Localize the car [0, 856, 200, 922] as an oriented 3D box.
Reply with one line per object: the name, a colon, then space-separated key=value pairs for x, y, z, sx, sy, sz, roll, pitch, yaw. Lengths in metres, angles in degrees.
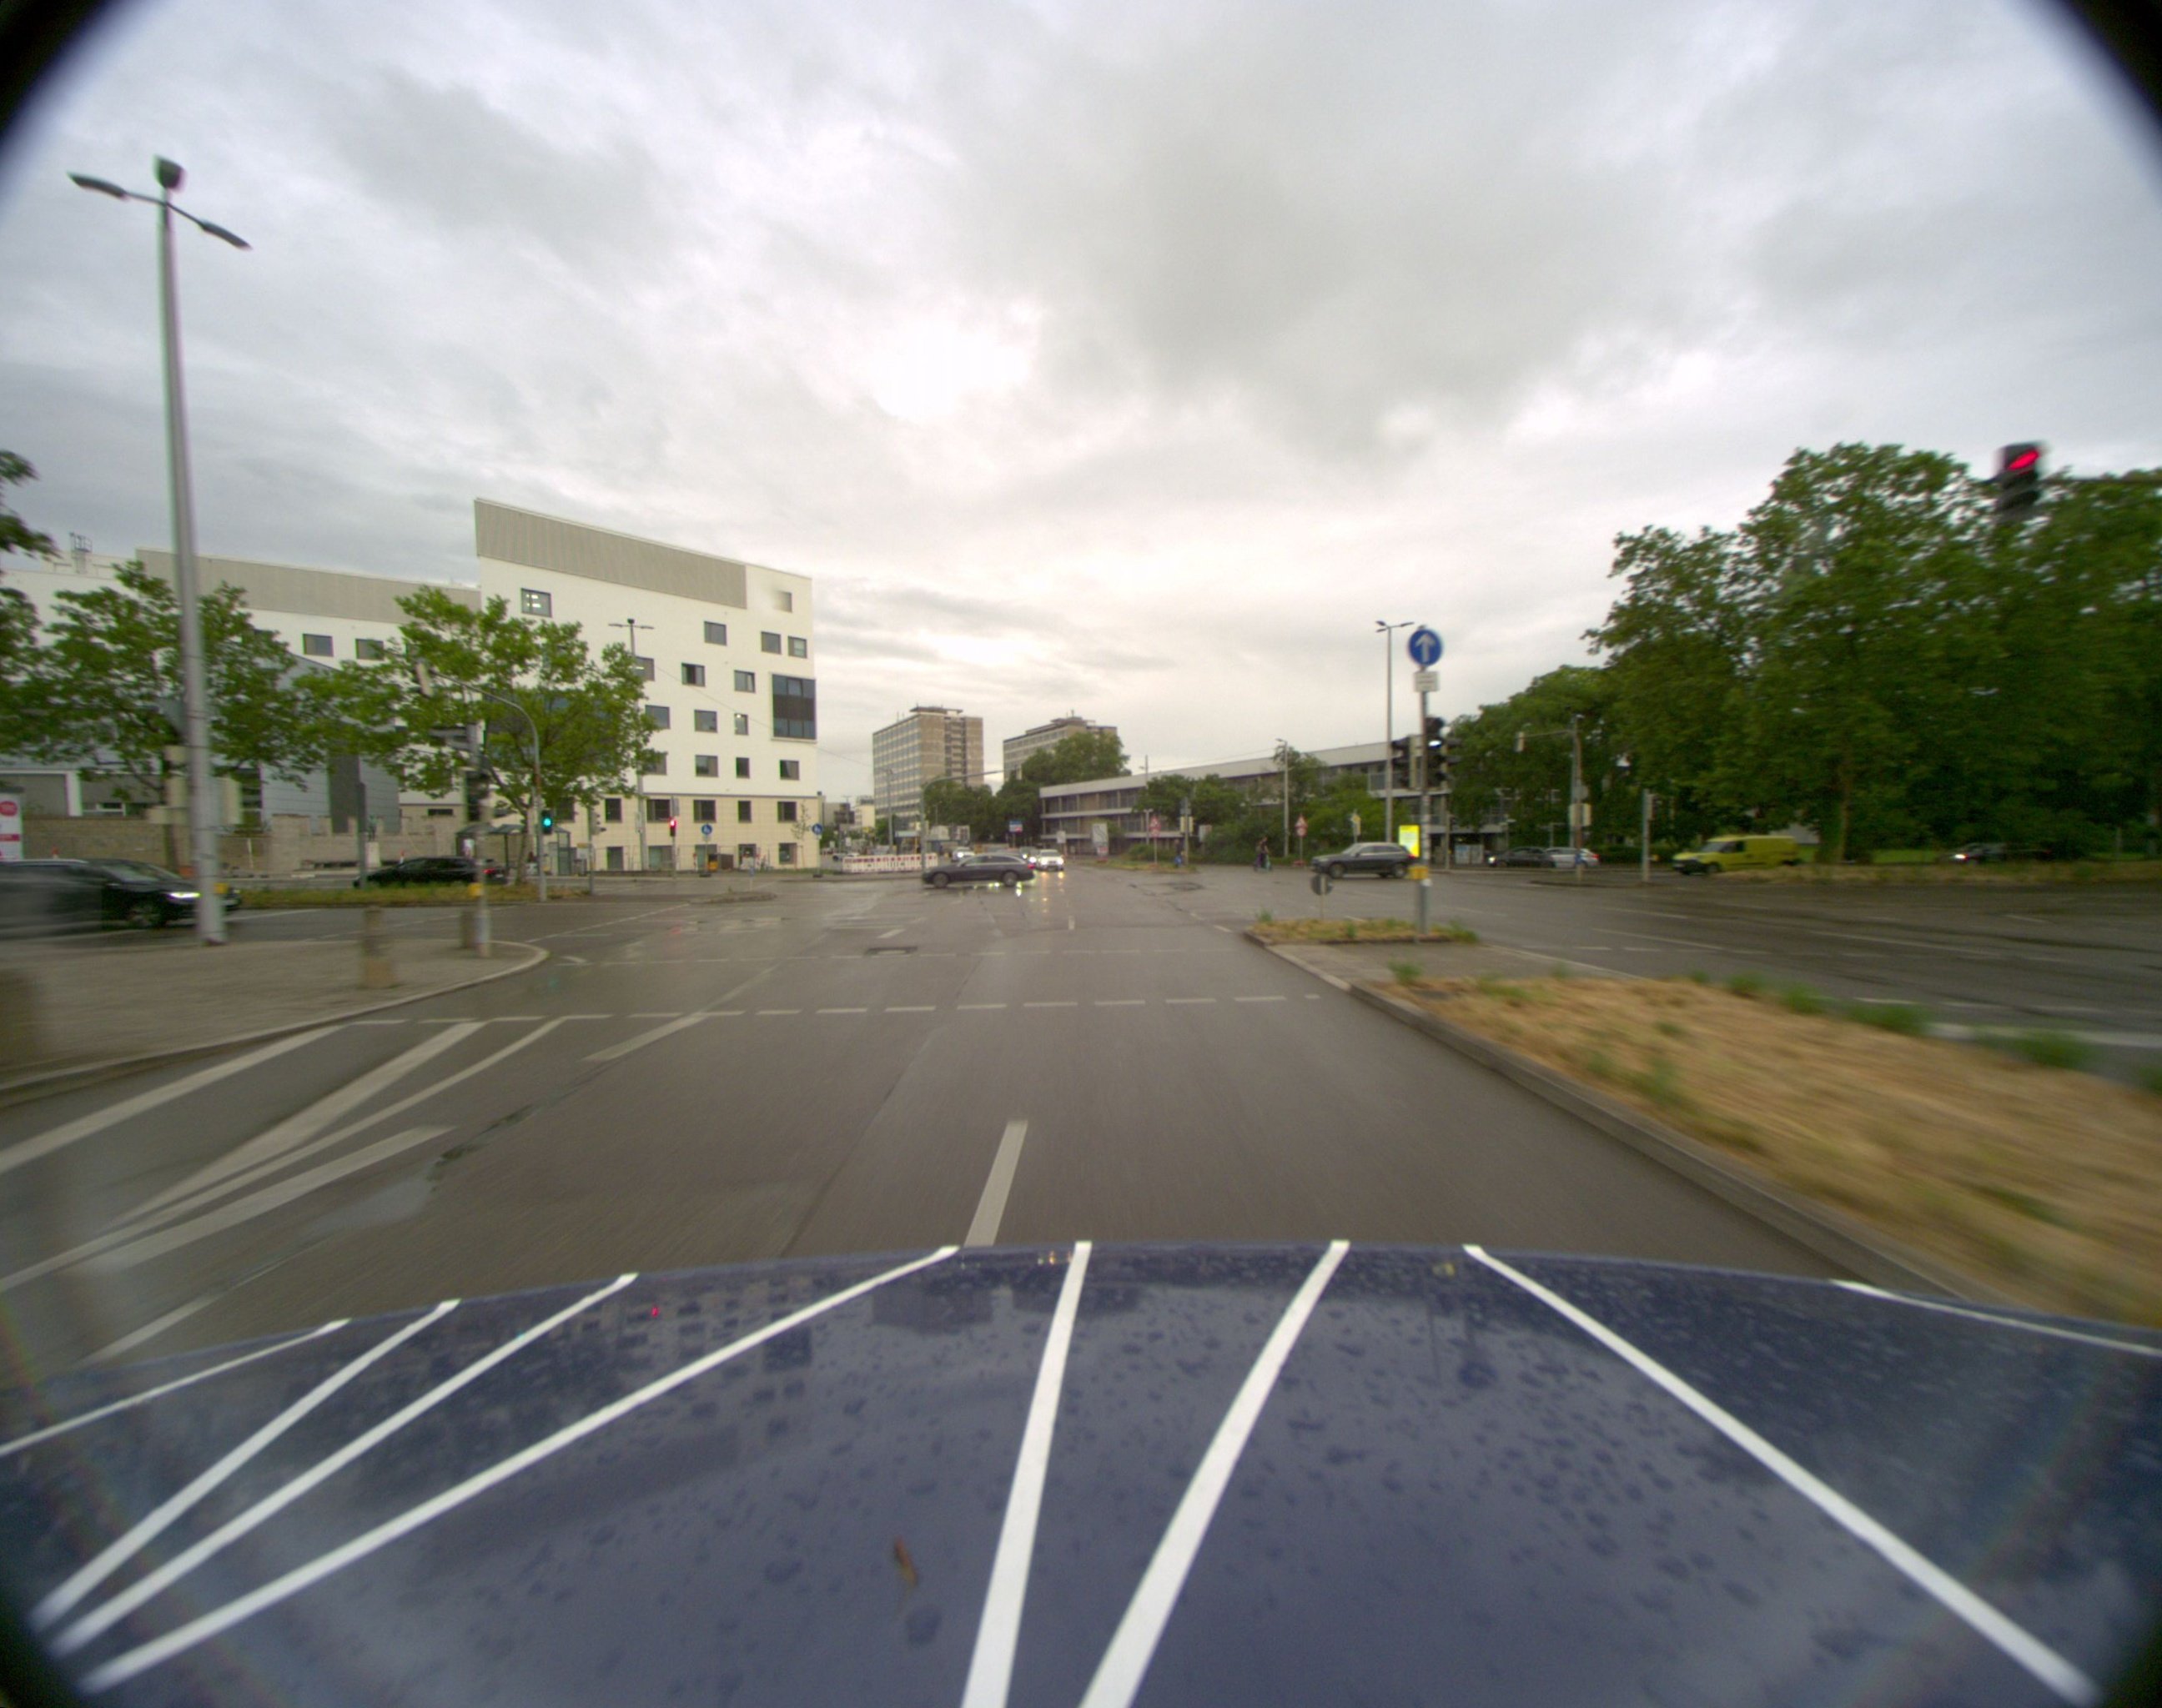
car: x=-26.693 y=0.890 z=20.117 sx=4.003 sy=1.576 sz=1.791 roll=-1 pitch=2 yaw=-19

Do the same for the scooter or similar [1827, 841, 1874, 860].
scooter or similar: x=46.961 y=-0.201 z=46.386 sx=1.886 sy=1.096 sz=0.559 roll=1 pitch=5 yaw=24

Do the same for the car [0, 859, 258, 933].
car: x=-22.947 y=0.940 z=18.028 sx=4.278 sy=1.556 sz=1.871 roll=0 pitch=2 yaw=-14

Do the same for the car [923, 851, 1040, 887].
car: x=-4.368 y=0.624 z=33.487 sx=4.930 sy=1.437 sz=1.884 roll=-1 pitch=1 yaw=-8

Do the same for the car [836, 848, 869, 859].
car: x=-32.925 y=-0.068 z=109.440 sx=4.057 sy=1.548 sz=1.968 roll=-1 pitch=0 yaw=9

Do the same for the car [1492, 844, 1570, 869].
car: x=27.117 y=0.148 z=45.900 sx=3.989 sy=1.441 sz=1.871 roll=0 pitch=1 yaw=29

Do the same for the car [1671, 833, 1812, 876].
car: x=30.440 y=0.029 z=35.142 sx=4.736 sy=1.865 sz=1.886 roll=-1 pitch=0 yaw=4

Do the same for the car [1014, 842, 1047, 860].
car: x=-4.456 y=-0.249 z=66.339 sx=1.968 sy=1.528 sz=4.153 roll=-1 pitch=0 yaw=-16

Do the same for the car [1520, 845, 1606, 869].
car: x=30.317 y=0.165 z=47.958 sx=4.393 sy=1.441 sz=1.871 roll=0 pitch=1 yaw=24

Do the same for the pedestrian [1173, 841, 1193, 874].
pedestrian: x=6.046 y=0.196 z=45.147 sx=0.830 sy=1.881 sz=1.026 roll=-2 pitch=0 yaw=-9

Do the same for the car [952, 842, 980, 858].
car: x=-12.793 y=-0.423 z=84.524 sx=1.969 sy=1.690 sz=4.151 roll=-1 pitch=0 yaw=-25

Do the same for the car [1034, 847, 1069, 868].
car: x=-2.119 y=0.257 z=53.543 sx=1.798 sy=1.435 sz=3.996 roll=-1 pitch=0 yaw=-11

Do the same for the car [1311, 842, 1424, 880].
car: x=13.266 y=0.322 z=35.382 sx=4.573 sy=1.598 sz=1.835 roll=-1 pitch=0 yaw=1

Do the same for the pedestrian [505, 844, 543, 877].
pedestrian: x=-29.680 y=0.344 z=40.478 sx=1.015 sy=1.709 sz=1.261 roll=-2 pitch=0 yaw=2

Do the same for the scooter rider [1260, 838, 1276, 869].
scooter rider: x=11.406 y=-0.017 z=46.340 sx=0.632 sy=1.872 sz=0.725 roll=-2 pitch=0 yaw=-17

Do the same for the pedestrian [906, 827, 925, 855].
pedestrian: x=-11.869 y=-0.919 z=54.456 sx=0.952 sy=1.924 sz=1.006 roll=-2 pitch=0 yaw=13

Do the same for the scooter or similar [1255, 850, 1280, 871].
scooter or similar: x=11.377 y=0.386 z=46.330 sx=1.314 sy=1.231 sz=0.592 roll=-2 pitch=0 yaw=-18

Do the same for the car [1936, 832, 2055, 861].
car: x=48.862 y=-0.403 z=40.748 sx=1.872 sy=1.441 sz=3.988 roll=-1 pitch=1 yaw=-42

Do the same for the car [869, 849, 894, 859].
car: x=-29.434 y=-0.051 z=112.119 sx=2.004 sy=1.370 sz=4.375 roll=-1 pitch=1 yaw=-37

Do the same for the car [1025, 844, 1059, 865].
car: x=-3.143 y=0.075 z=59.889 sx=1.967 sy=1.548 sz=4.524 roll=-1 pitch=0 yaw=-12

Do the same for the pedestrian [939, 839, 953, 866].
pedestrian: x=-9.418 y=-0.105 z=53.065 sx=0.824 sy=1.829 sz=0.953 roll=-2 pitch=0 yaw=-8

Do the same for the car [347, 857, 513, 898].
car: x=-24.605 y=0.847 z=28.893 sx=4.515 sy=1.458 sz=1.673 roll=0 pitch=1 yaw=-14
